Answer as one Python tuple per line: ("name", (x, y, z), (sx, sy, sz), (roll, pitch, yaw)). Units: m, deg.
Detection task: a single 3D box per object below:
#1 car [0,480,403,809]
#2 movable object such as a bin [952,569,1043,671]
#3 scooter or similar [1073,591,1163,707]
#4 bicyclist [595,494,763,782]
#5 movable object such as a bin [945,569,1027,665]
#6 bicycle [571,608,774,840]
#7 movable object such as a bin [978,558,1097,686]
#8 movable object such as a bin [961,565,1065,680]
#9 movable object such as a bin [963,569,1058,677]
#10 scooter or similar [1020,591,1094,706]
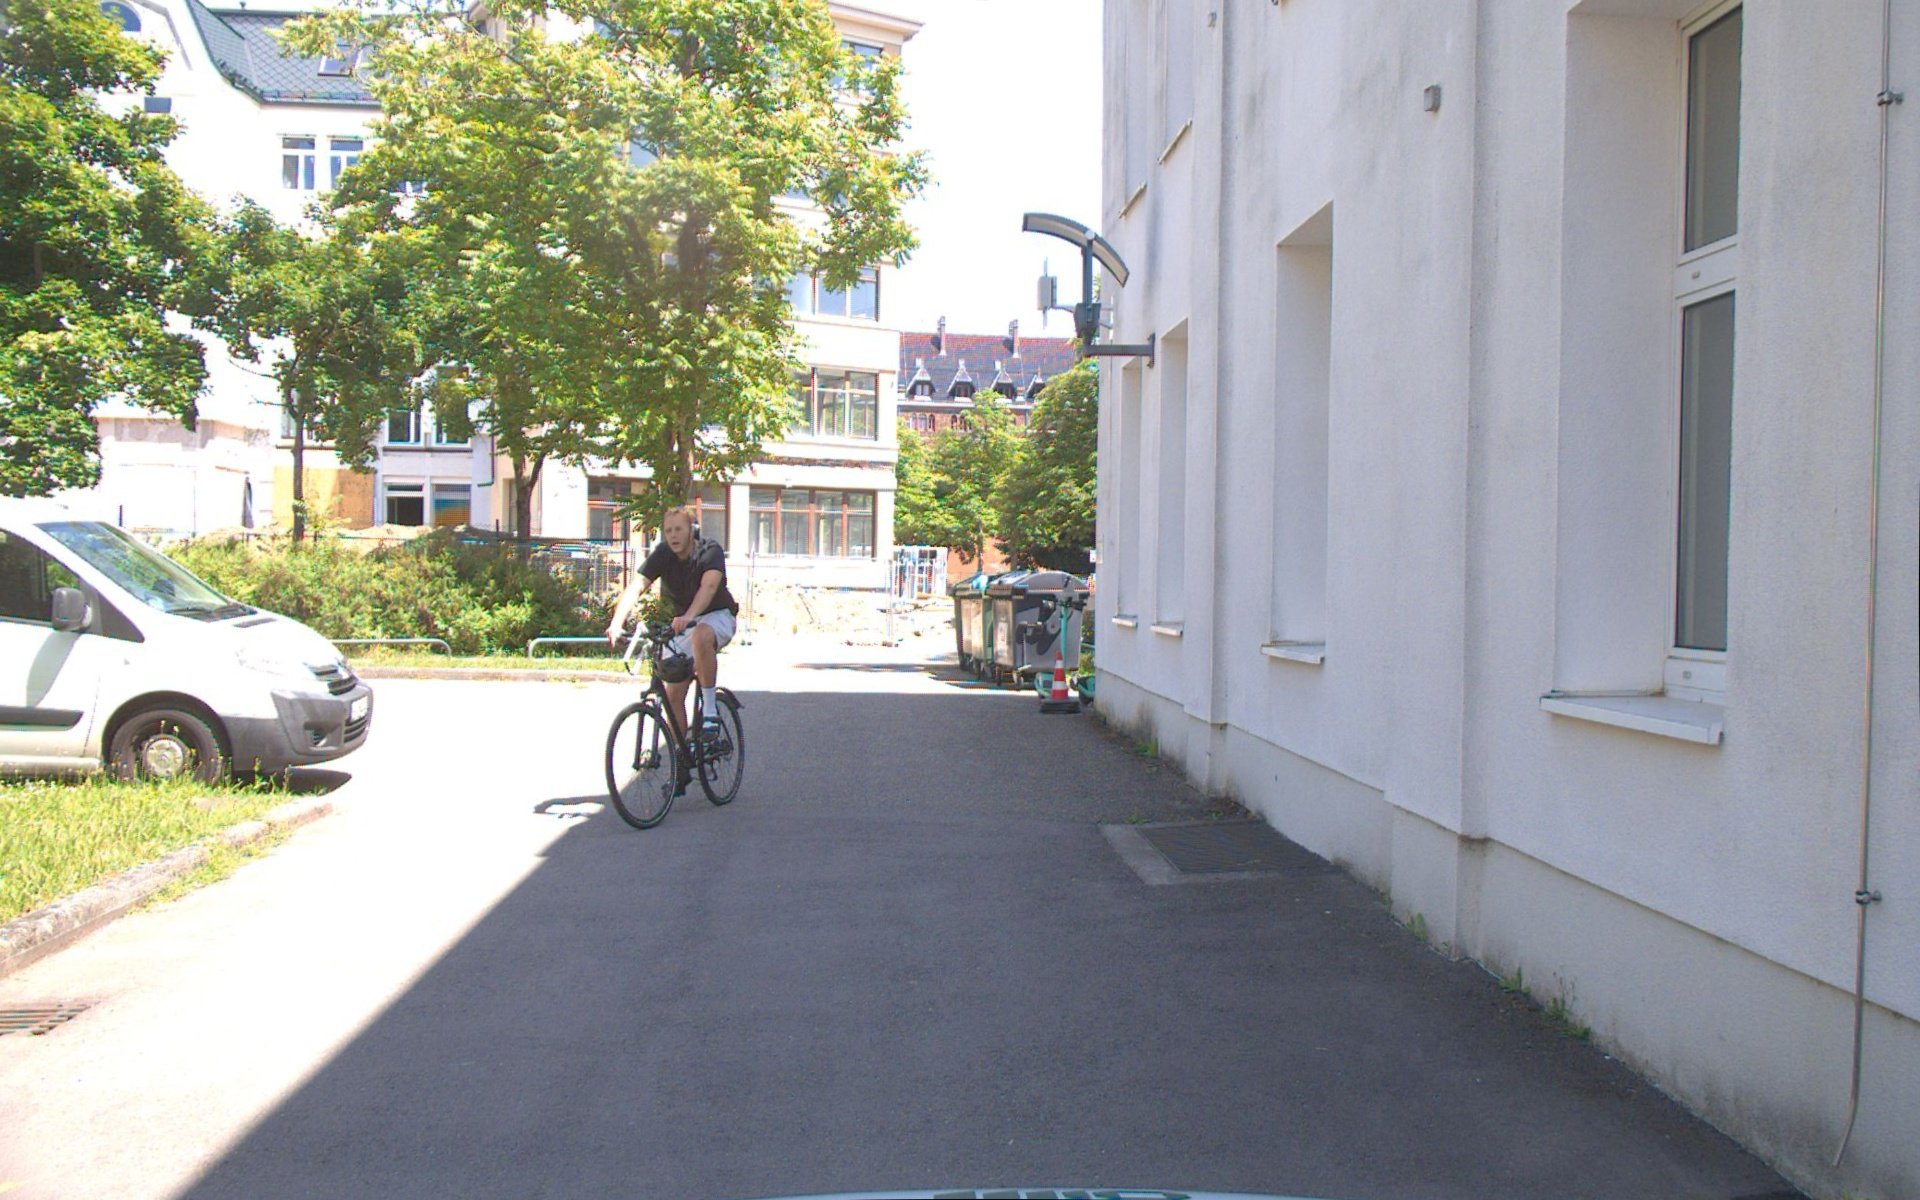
("car", (-6.245, 0.256, 10.714), (4.699, 1.945, 1.996), (0, 0, -9))
("movable object such as a bin", (0.553, 0.305, 25.260), (1.157, 1.495, 1.309), (1, 0, -9))
("scooter or similar", (1.692, 0.506, 17.841), (0.457, 1.194, 1.248), (1, 0, -20))
("bicyclist", (-1.675, 0.198, 9.982), (0.707, 1.637, 0.979), (1, 2, 8))
("movable object such as a bin", (0.442, 0.273, 26.795), (1.154, 1.495, 1.334), (1, 0, 8))
("bicycle", (-1.685, 0.680, 9.997), (0.630, 1.194, 1.906), (1, 2, 8))
("movable object such as a bin", (0.951, 0.275, 20.720), (1.135, 1.532, 1.458), (1, 0, -13))
("movable object such as a bin", (0.699, 0.301, 22.440), (1.157, 1.495, 1.308), (1, 0, -10))
("movable object such as a bin", (0.713, 0.321, 23.828), (1.156, 1.495, 1.309), (1, 0, -8))
("scooter or similar", (1.039, 0.509, 17.971), (0.455, 1.194, 1.353), (1, 0, -12))
